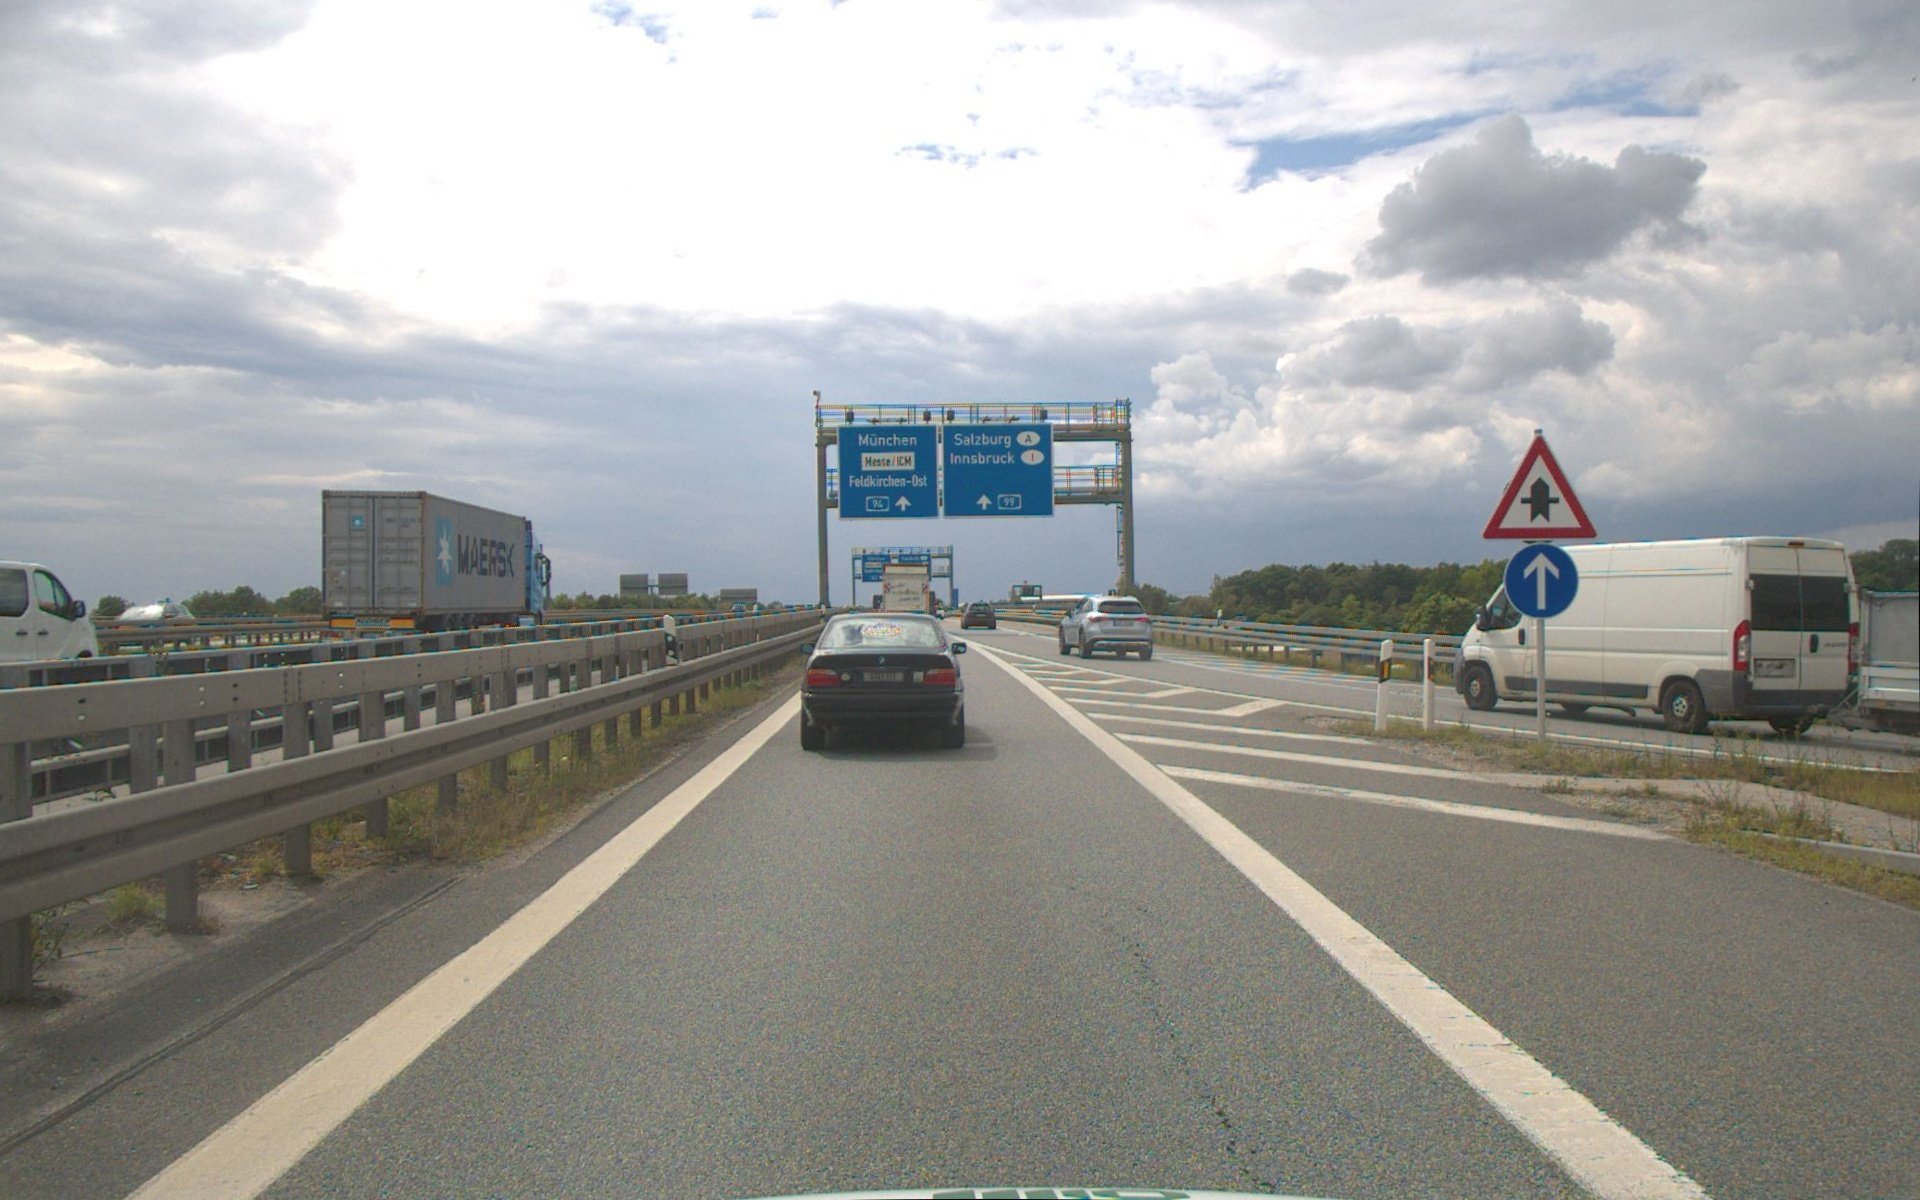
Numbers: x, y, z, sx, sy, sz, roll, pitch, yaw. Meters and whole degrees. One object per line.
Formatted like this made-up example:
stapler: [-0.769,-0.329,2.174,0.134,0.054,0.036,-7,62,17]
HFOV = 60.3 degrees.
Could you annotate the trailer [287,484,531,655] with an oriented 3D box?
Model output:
trailer: [-14.568,-0.688,45.127,3.172,3.993,12.370,1,0,-4]

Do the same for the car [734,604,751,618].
car: [-26.079,1.309,198.467,1.855,1.625,4.413,0,0,-5]

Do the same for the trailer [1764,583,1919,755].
trailer: [11.433,0.760,18.183,1.967,1.874,4.473,1,0,-24]

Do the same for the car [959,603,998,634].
car: [0.990,0.983,89.235,1.953,1.579,3.999,1,0,-1]

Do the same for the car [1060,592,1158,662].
car: [3.915,0.685,44.178,1.898,1.714,4.205,0,1,-5]

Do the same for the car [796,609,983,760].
car: [-0.727,0.807,17.635,1.746,1.402,4.135,0,0,-2]

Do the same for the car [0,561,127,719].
car: [-13.009,0.506,21.526,1.960,1.972,5.129,0,0,-3]

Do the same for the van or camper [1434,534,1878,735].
van or camper: [9.357,0.425,22.980,2.193,2.402,5.899,1,0,-22]

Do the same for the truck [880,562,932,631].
truck: [-2.572,-0.161,78.888,2.355,3.144,6.368,0,0,-2]

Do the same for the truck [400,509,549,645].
truck: [-15.062,-0.667,51.849,3.183,3.980,6.603,0,0,-5]
